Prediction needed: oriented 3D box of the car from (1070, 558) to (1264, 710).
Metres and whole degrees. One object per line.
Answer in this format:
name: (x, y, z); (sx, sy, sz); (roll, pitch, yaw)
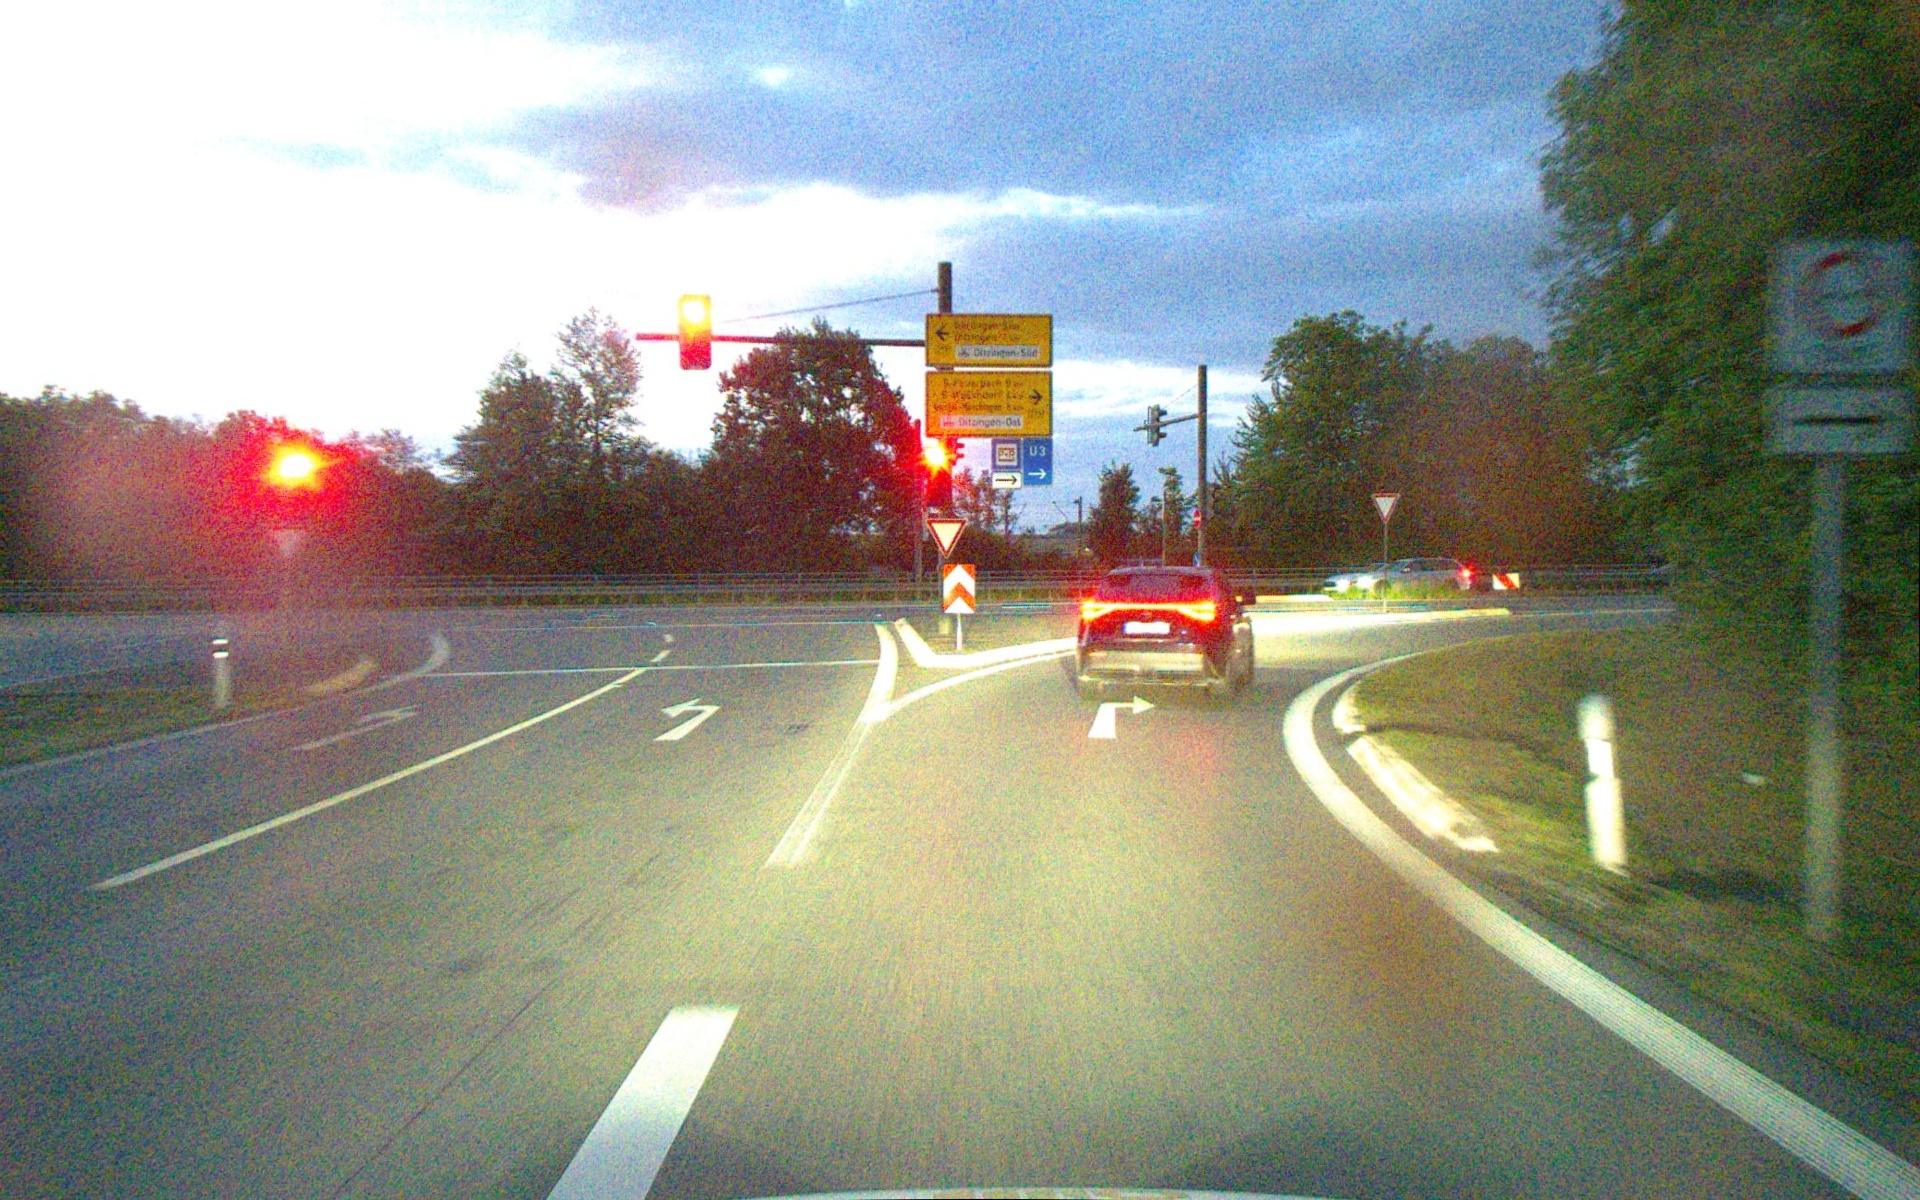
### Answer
car: (2.736, 0.322, 20.960); (1.860, 1.648, 4.560); (1, 2, 14)

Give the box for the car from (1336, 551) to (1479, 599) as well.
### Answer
car: (16.448, -0.905, 60.809); (4.778, 1.711, 1.991); (0, 1, -16)

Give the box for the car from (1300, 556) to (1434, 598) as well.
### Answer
car: (15.743, -0.882, 64.055); (4.641, 1.478, 1.992); (-2, 1, -15)
